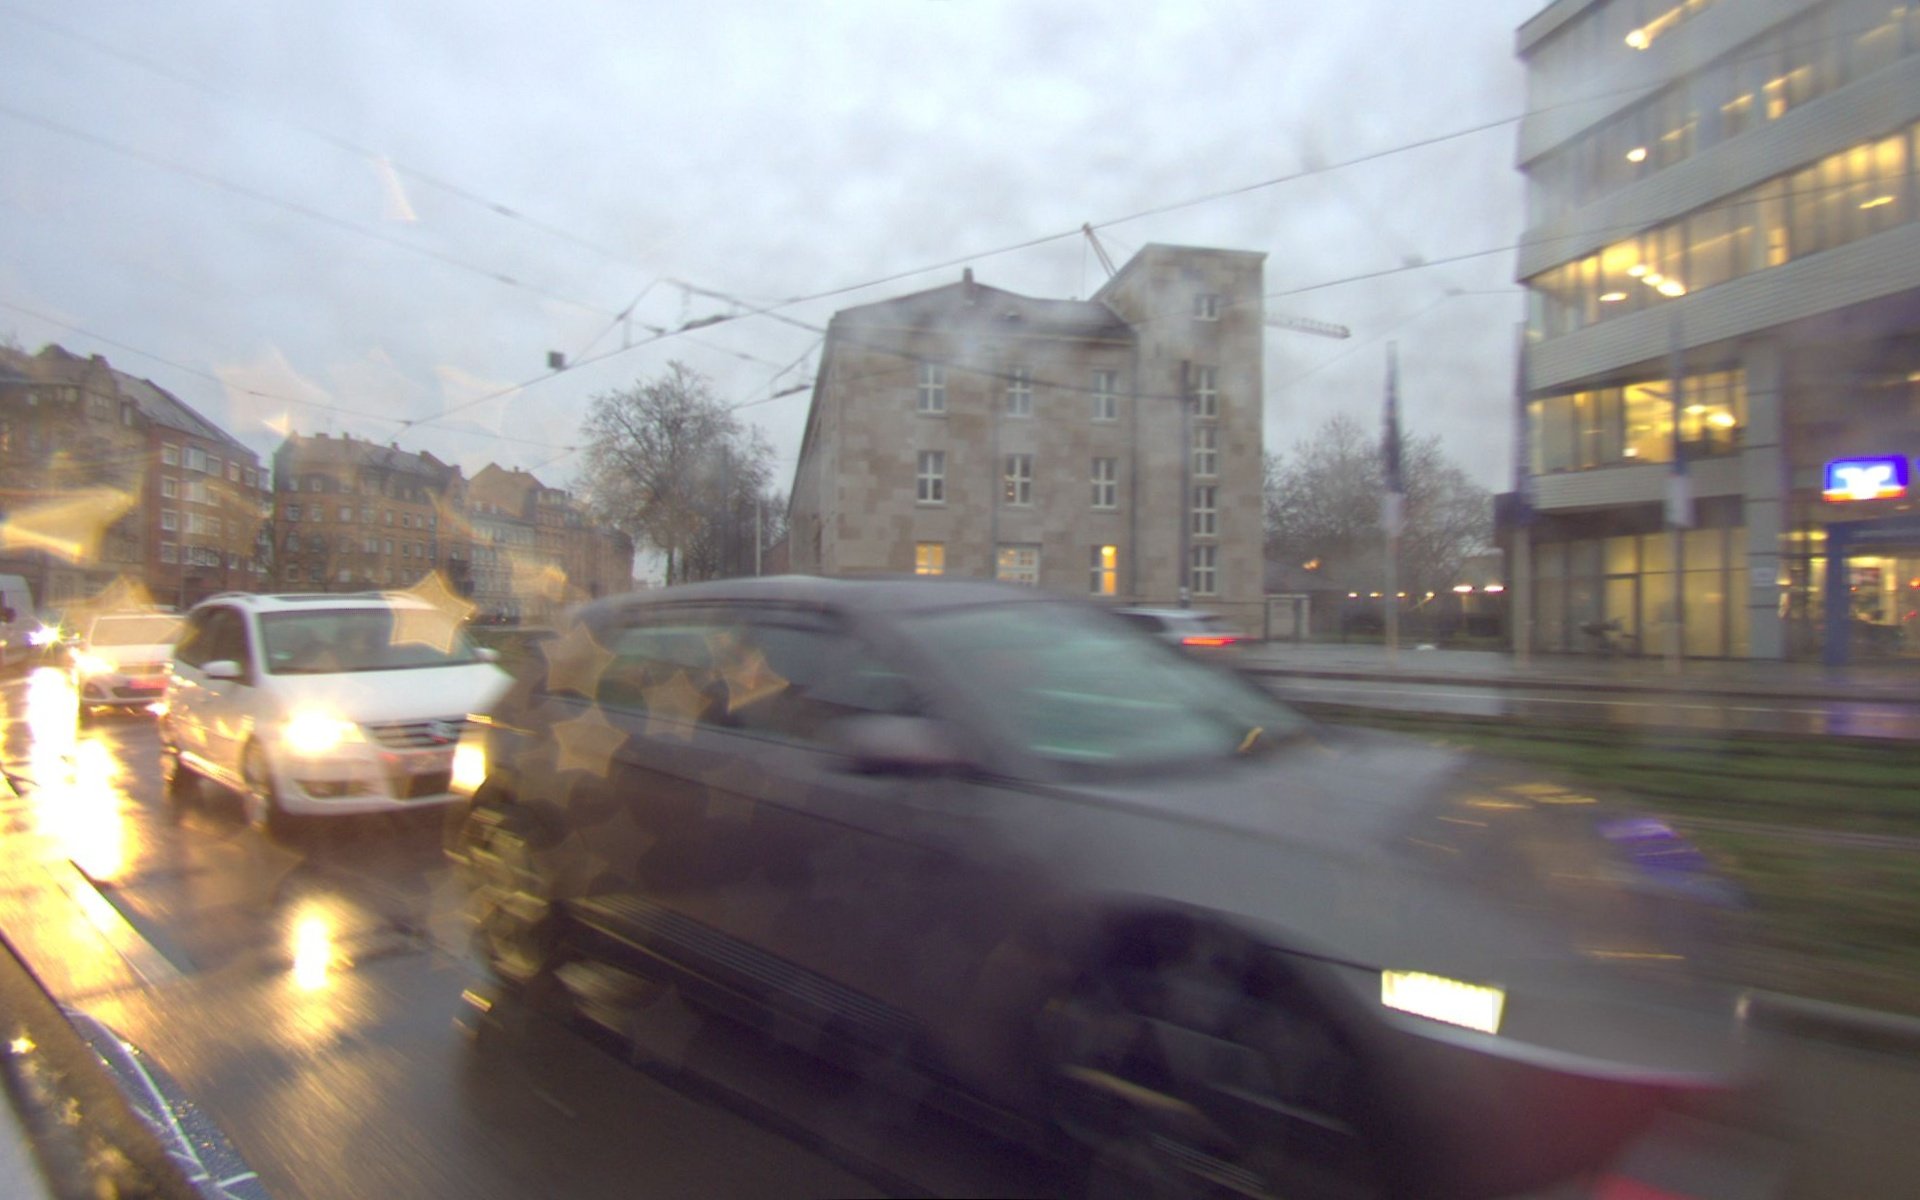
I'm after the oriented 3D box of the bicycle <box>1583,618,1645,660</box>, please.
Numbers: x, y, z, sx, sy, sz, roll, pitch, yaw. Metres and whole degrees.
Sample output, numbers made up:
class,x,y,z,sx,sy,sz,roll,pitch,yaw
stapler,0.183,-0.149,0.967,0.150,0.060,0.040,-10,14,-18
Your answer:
class,x,y,z,sx,sy,sz,roll,pitch,yaw
bicycle,18.346,1.091,28.408,1.473,1.136,0.529,0,-1,-9

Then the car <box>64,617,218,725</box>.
class,x,y,z,sx,sy,sz,roll,pitch,yaw
car,-12.518,0.990,15.456,1.664,1.441,3.352,0,-1,-41

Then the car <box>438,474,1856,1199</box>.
class,x,y,z,sx,sy,sz,roll,pitch,yaw
car,0.087,0.672,3.420,4.359,1.582,1.802,-1,-2,41

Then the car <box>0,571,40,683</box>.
class,x,y,z,sx,sy,sz,roll,pitch,yaw
car,-23.504,0.619,23.665,2.206,2.481,5.684,0,-1,-35

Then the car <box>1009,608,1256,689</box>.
class,x,y,z,sx,sy,sz,roll,pitch,yaw
car,3.206,0.867,19.382,4.471,1.397,1.624,-1,-2,39

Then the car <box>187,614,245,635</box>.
class,x,y,z,sx,sy,sz,roll,pitch,yaw
car,-51.549,1.697,70.200,3.133,1.424,1.386,1,-2,-32

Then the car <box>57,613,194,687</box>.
class,x,y,z,sx,sy,sz,roll,pitch,yaw
car,-18.599,1.073,22.751,1.846,1.486,4.182,0,-1,-32

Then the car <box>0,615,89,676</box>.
class,x,y,z,sx,sy,sz,roll,pitch,yaw
car,-27.893,1.311,30.488,1.846,1.701,4.183,0,-1,-32

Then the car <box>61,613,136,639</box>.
class,x,y,z,sx,sy,sz,roll,pitch,yaw
car,-49.630,1.512,58.377,3.133,1.440,1.432,1,-2,-34

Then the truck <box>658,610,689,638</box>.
class,x,y,z,sx,sy,sz,roll,pitch,yaw
truck,-21.635,1.787,76.637,1.809,2.060,4.008,0,-1,-9

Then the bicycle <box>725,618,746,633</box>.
class,x,y,z,sx,sy,sz,roll,pitch,yaw
bicycle,-27.202,3.069,122.479,2.411,1.719,0.848,0,0,-16

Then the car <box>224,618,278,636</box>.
class,x,y,z,sx,sy,sz,roll,pitch,yaw
car,-51.913,1.978,74.174,3.133,1.293,1.386,1,-2,-32

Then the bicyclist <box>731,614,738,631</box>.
class,x,y,z,sx,sy,sz,roll,pitch,yaw
bicyclist,-27.330,2.775,122.438,0.766,2.029,0.832,0,0,-15

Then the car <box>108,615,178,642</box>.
class,x,y,z,sx,sy,sz,roll,pitch,yaw
car,-49.806,1.748,61.756,3.133,1.636,1.432,1,-2,-34

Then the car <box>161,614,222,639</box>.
class,x,y,z,sx,sy,sz,roll,pitch,yaw
car,-51.042,1.781,67.254,3.133,1.636,1.450,1,-2,-34

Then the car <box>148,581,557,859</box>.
class,x,y,z,sx,sy,sz,roll,pitch,yaw
car,-4.930,0.741,7.936,4.223,1.611,1.653,-1,-2,43
